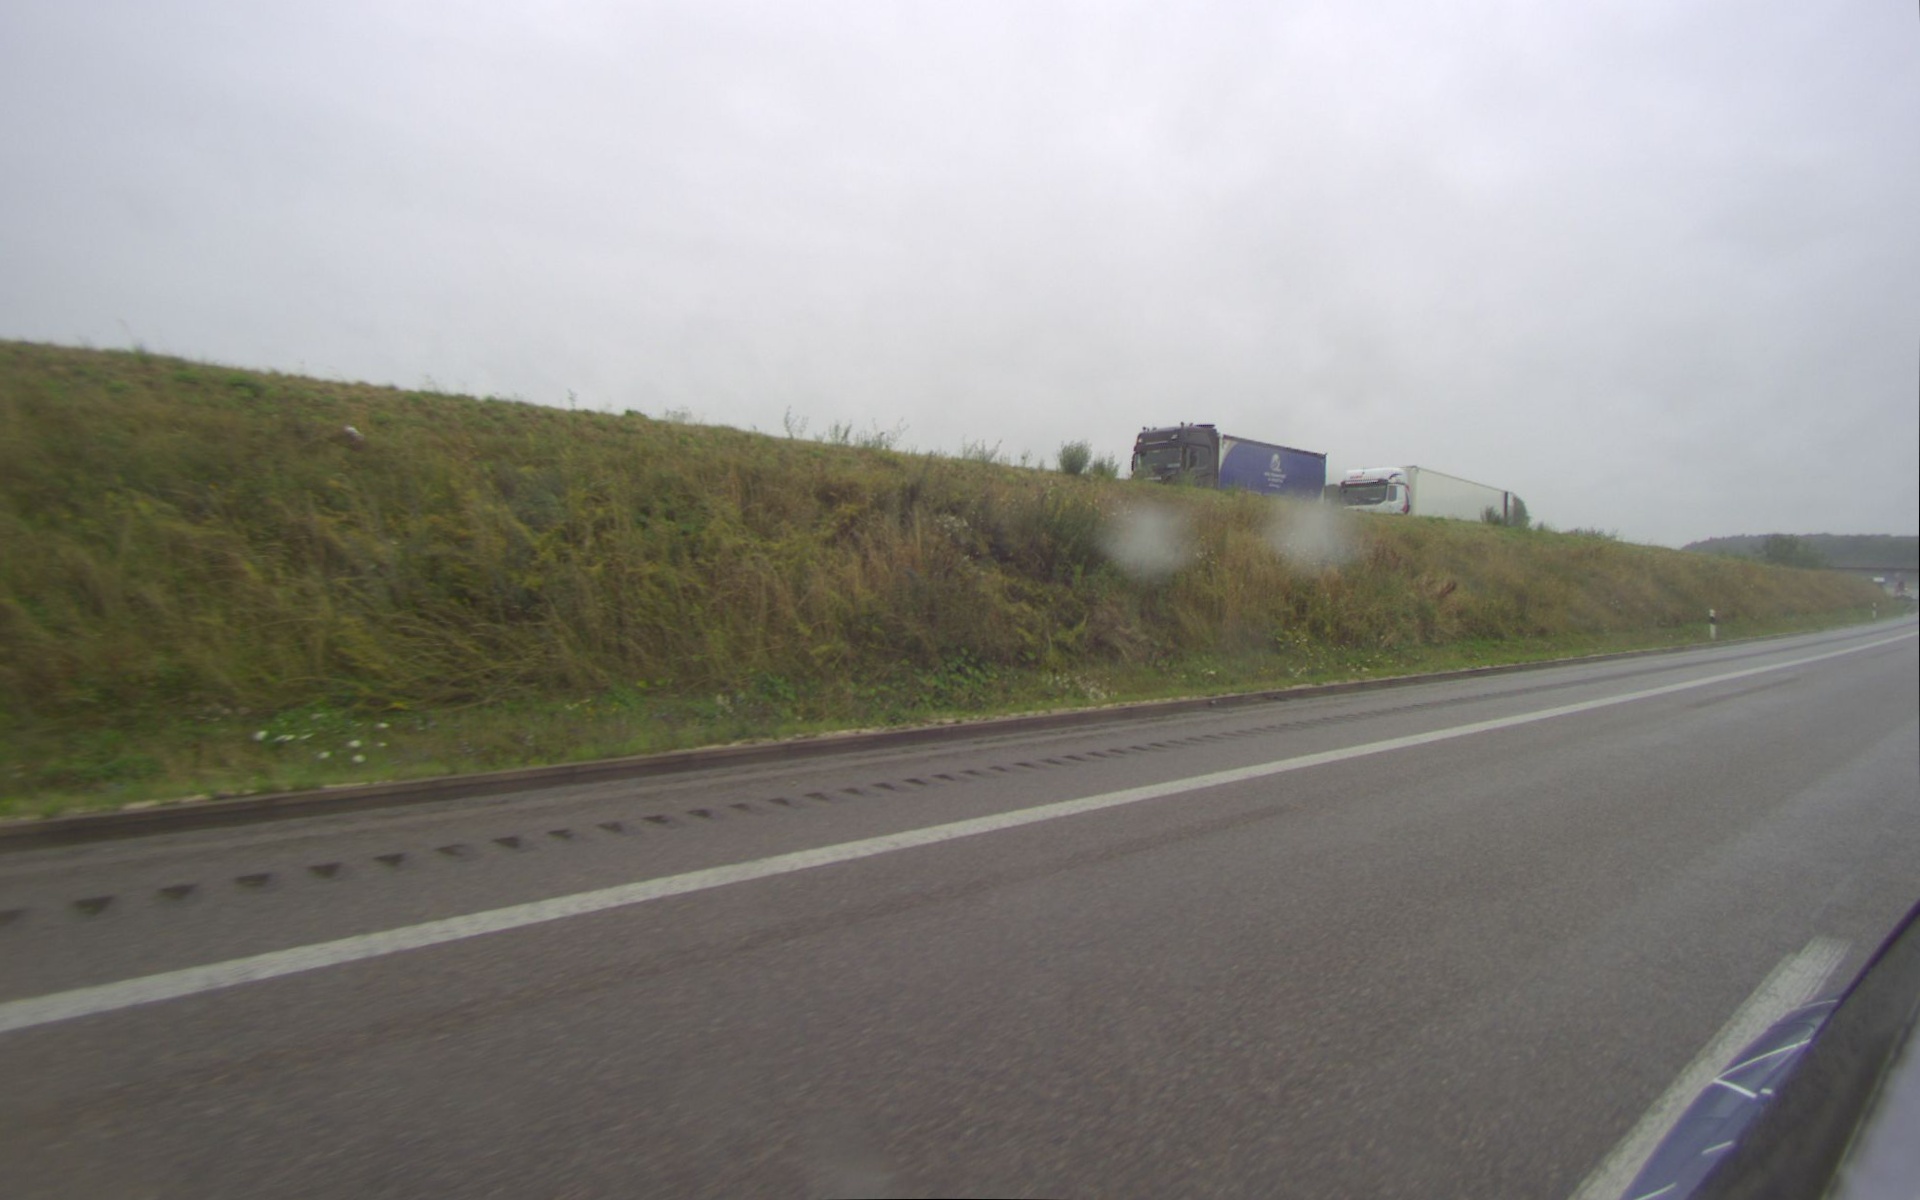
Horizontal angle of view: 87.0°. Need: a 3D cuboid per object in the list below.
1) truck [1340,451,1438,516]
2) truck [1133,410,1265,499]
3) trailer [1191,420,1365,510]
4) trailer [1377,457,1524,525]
[{"bbox_3d":[20.640,-5.517,48.609,4.992,2.599,2.428,-1,1,-41],"label":"truck"},{"bbox_3d":[8.968,-5.314,37.710,4.975,2.637,2.369,-1,1,-41],"label":"truck"},{"bbox_3d":[13.194,-5.344,41.379,9.242,2.790,2.300,-1,1,-41],"label":"trailer"},{"bbox_3d":[26.250,-5.592,53.651,12.742,2.636,2.385,-1,1,-42],"label":"trailer"}]
